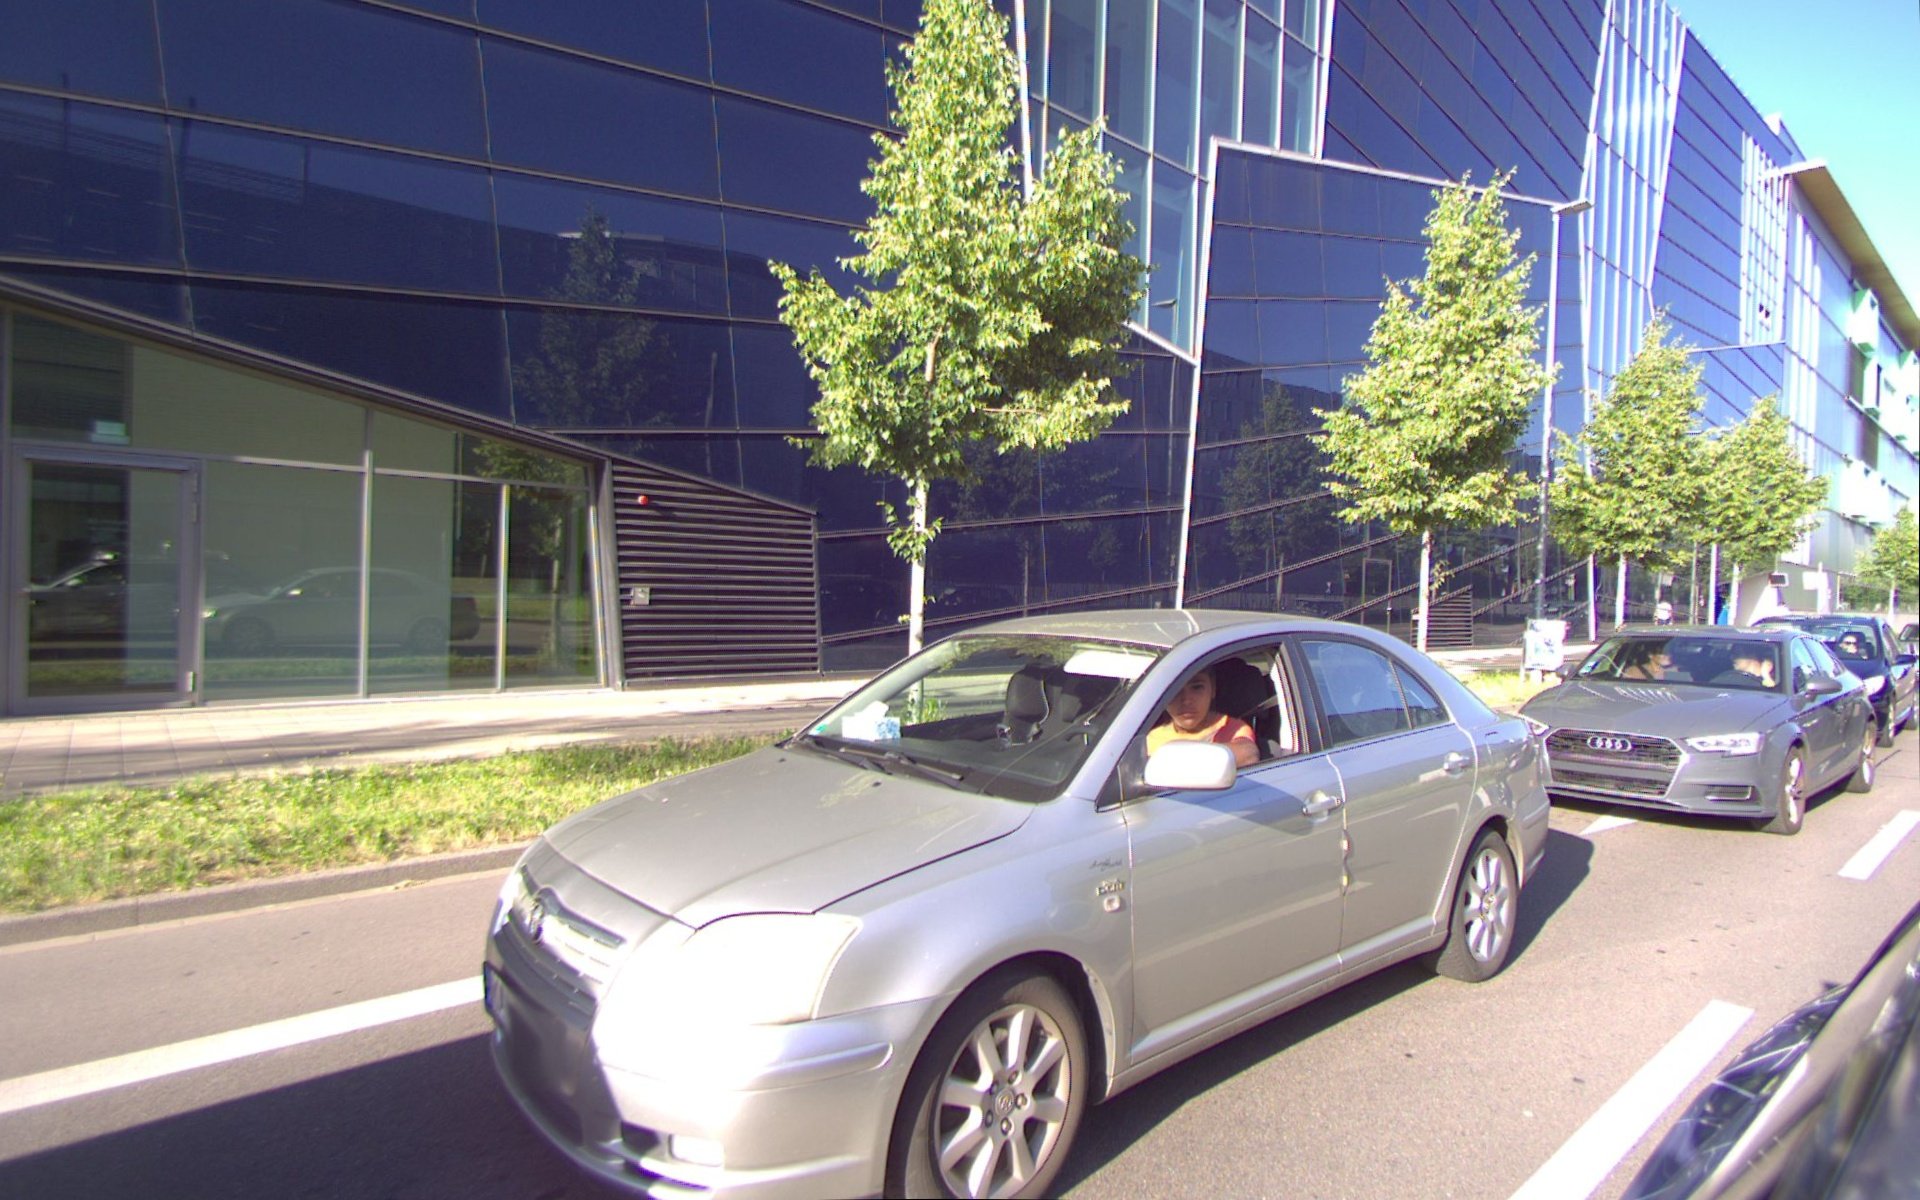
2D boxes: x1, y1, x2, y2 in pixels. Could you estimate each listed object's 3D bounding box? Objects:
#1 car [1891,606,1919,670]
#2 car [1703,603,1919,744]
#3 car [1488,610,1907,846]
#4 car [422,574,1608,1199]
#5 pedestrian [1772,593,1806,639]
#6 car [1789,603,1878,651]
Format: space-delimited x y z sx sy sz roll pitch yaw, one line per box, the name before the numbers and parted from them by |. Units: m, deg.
car | 23.868 0.909 24.406 3.358 1.497 1.752 1 0 -41
car | 11.007 0.811 12.843 3.902 1.497 1.752 1 0 -41
car | 6.146 0.809 8.258 4.187 1.409 1.750 0 0 -39
car | 0.658 0.699 3.871 4.545 1.500 1.750 0 1 -40
pedestrian | 34.699 0.663 42.347 0.889 1.846 0.829 1 4 -41
car | 31.724 0.940 36.700 4.633 1.516 1.739 1 3 -41
